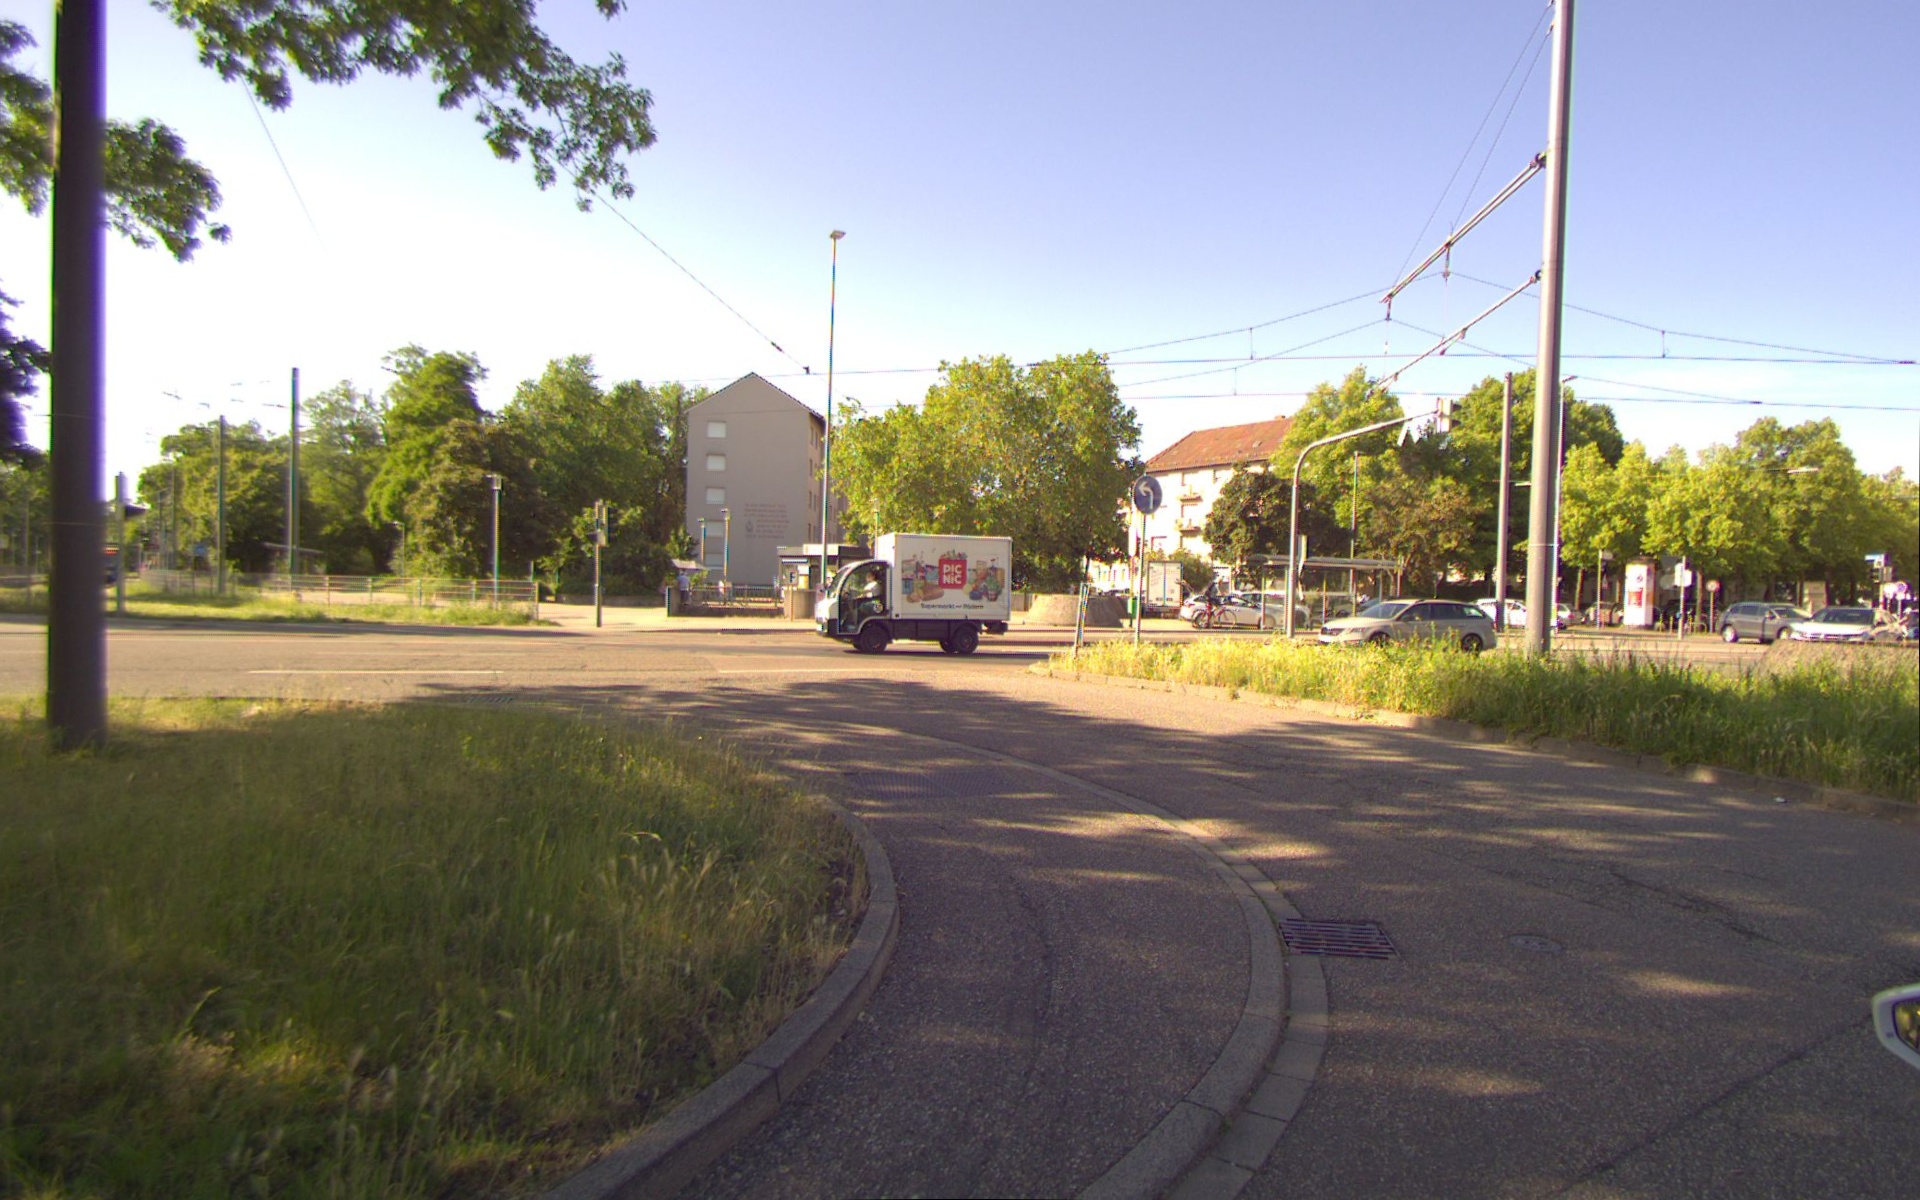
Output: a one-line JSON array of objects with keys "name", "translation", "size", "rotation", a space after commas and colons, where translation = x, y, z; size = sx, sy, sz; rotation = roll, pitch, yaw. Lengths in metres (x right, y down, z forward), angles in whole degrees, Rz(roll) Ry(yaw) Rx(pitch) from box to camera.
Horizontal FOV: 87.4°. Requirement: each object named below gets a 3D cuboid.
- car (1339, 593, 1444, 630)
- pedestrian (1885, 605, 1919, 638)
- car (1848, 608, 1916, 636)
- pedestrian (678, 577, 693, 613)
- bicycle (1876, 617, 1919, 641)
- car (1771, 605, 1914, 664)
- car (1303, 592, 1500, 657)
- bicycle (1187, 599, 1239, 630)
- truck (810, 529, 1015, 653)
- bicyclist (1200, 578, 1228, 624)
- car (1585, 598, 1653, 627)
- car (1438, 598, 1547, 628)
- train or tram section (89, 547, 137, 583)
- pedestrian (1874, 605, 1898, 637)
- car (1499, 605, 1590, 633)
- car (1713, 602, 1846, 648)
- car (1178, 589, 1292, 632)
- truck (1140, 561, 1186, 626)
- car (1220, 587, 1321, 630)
[{"name": "car", "translation": [19.125, 0.501, 44.616], "size": [3.938, 1.509, 1.759], "rotation": [0, 4, -12]}, {"name": "pedestrian", "translation": [43.302, 0.973, 46.105], "size": [0.760, 1.447, 0.939], "rotation": [3, 2, 9]}, {"name": "car", "translation": [54.119, 1.271, 58.952], "size": [3.895, 1.533, 1.925], "rotation": [1, 1, -32]}, {"name": "pedestrian", "translation": [-14.421, -0.264, 52.764], "size": [0.715, 1.854, 0.558], "rotation": [1, 1, -12]}, {"name": "bicycle", "translation": [43.276, 1.331, 46.210], "size": [0.769, 0.964, 1.857], "rotation": [3, 1, 10]}, {"name": "car", "translation": [26.613, 1.011, 30.267], "size": [4.336, 1.583, 1.983], "rotation": [1, 1, -31]}, {"name": "car", "translation": [11.022, 0.603, 25.150], "size": [4.325, 1.468, 1.664], "rotation": [2, 1, -12]}, {"name": "bicycle", "translation": [8.571, 0.493, 34.033], "size": [1.633, 1.015, 0.611], "rotation": [0, 3, -20]}, {"name": "truck", "translation": [-1.052, -0.173, 21.672], "size": [4.046, 2.459, 1.786], "rotation": [1, 1, -19]}, {"name": "bicyclist", "translation": [8.612, 0.026, 34.034], "size": [0.665, 1.551, 0.611], "rotation": [0, 3, -19]}, {"name": "car", "translation": [41.354, 0.771, 63.100], "size": [1.584, 1.717, 3.519], "rotation": [0, 1, -10]}, {"name": "car", "translation": [28.146, 0.722, 53.197], "size": [1.721, 1.461, 4.827], "rotation": [3, -4, -40]}, {"name": "train or tram section", "translation": [-80.237, -3.342, 95.342], "size": [2.447, 2.979, 19.629], "rotation": [1, 1, -37]}, {"name": "pedestrian", "translation": [48.438, 1.105, 52.552], "size": [0.781, 1.643, 0.827], "rotation": [2, 1, 35]}, {"name": "car", "translation": [31.474, 1.005, 54.138], "size": [3.939, 1.260, 1.991], "rotation": [3, 2, 39]}, {"name": "car", "translation": [32.624, 0.958, 40.147], "size": [1.961, 1.593, 3.999], "rotation": [2, 1, -2]}, {"name": "car", "translation": [11.629, 0.403, 42.759], "size": [4.457, 1.565, 1.873], "rotation": [2, 4, 10]}, {"name": "truck", "translation": [10.035, -0.356, 49.960], "size": [1.959, 3.035, 4.831], "rotation": [1, 2, 9]}, {"name": "car", "translation": [13.901, 0.384, 45.113], "size": [3.925, 1.741, 1.761], "rotation": [1, 4, -6]}]
